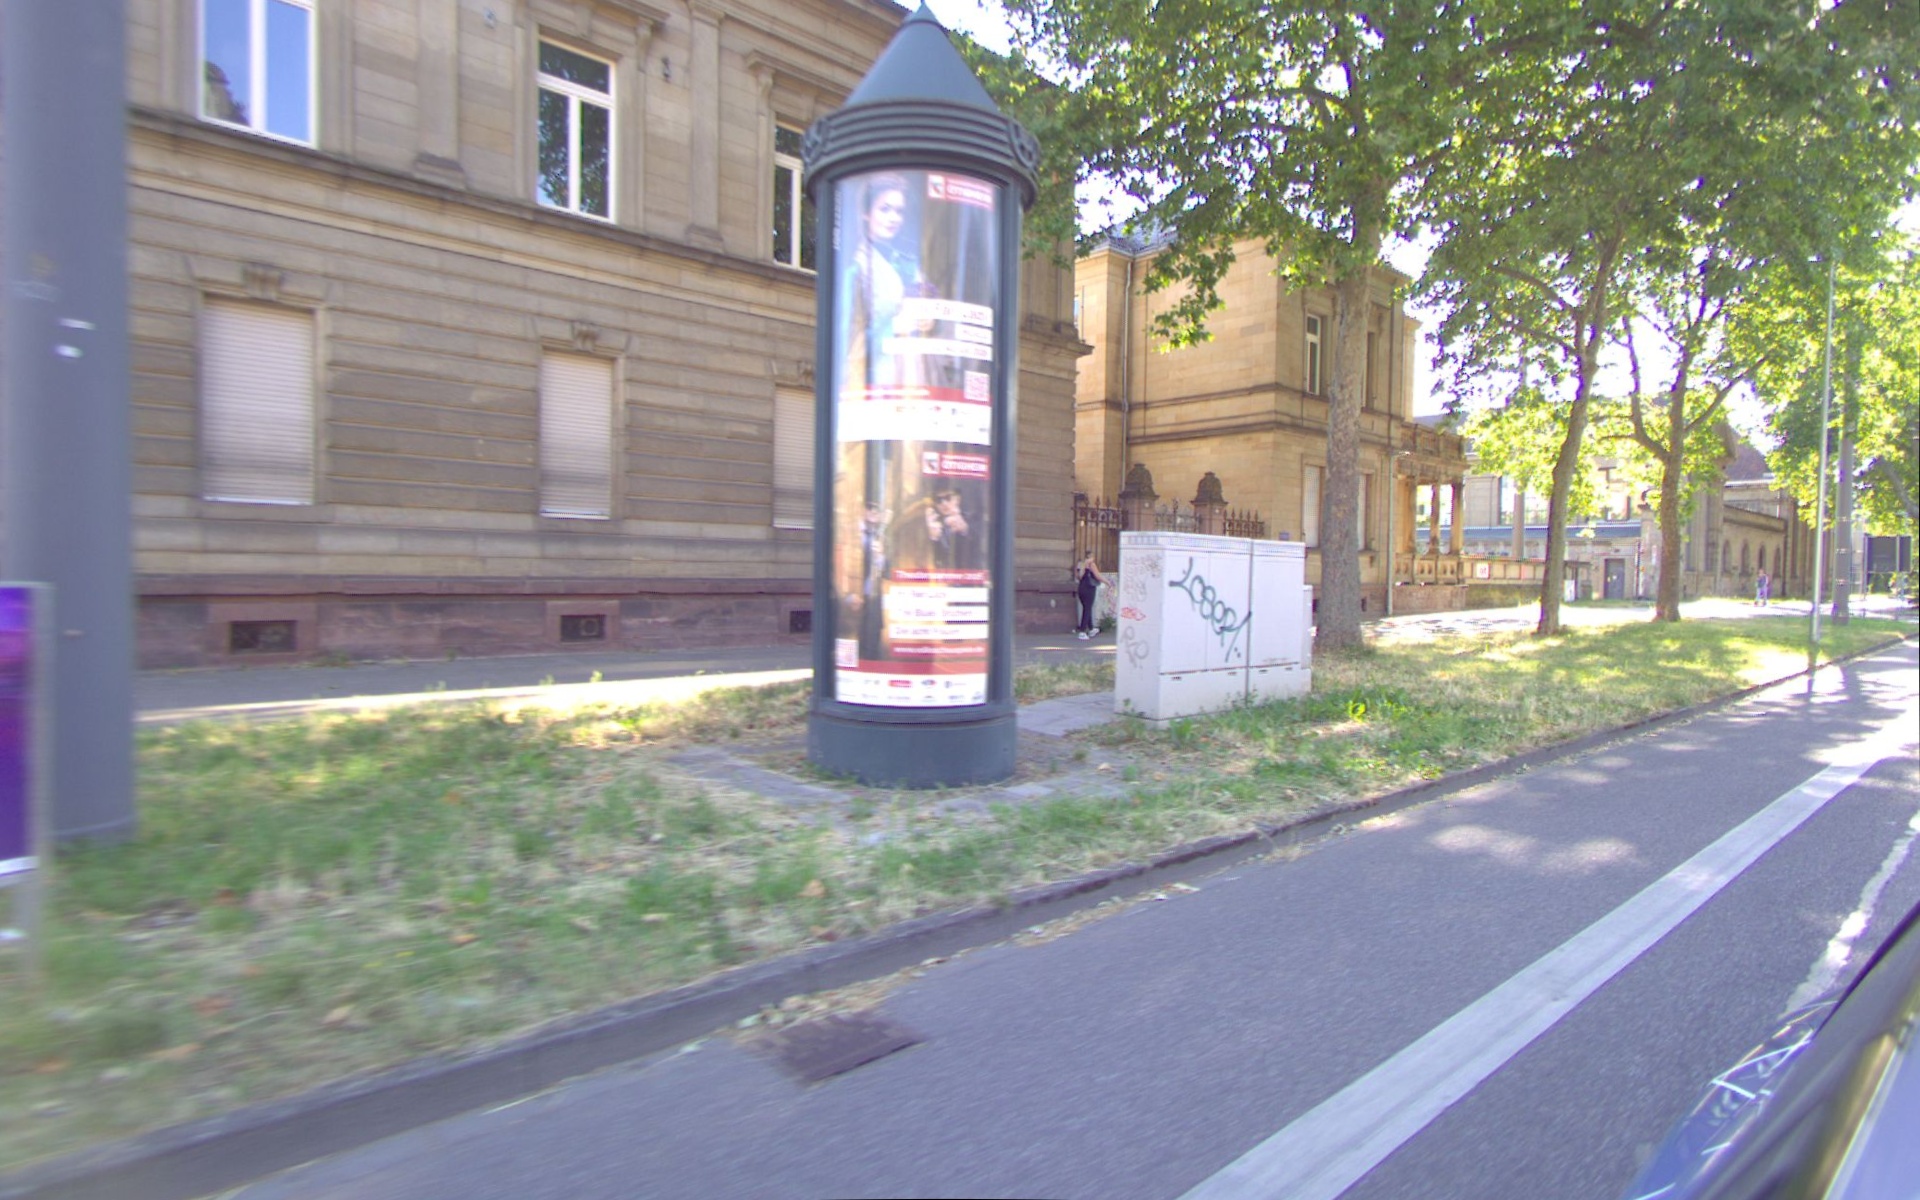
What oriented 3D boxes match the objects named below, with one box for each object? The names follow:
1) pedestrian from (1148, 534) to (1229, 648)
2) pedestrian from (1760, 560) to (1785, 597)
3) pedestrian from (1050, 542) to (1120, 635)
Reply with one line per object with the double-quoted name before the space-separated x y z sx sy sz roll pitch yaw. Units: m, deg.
"pedestrian" 3.628 -0.160 16.083 1.024 1.730 0.771 -1 2 -40
"pedestrian" 37.052 -0.983 46.134 0.859 1.682 0.672 0 3 -40
"pedestrian" 2.233 -0.222 18.132 0.969 1.626 0.771 -1 2 -40
